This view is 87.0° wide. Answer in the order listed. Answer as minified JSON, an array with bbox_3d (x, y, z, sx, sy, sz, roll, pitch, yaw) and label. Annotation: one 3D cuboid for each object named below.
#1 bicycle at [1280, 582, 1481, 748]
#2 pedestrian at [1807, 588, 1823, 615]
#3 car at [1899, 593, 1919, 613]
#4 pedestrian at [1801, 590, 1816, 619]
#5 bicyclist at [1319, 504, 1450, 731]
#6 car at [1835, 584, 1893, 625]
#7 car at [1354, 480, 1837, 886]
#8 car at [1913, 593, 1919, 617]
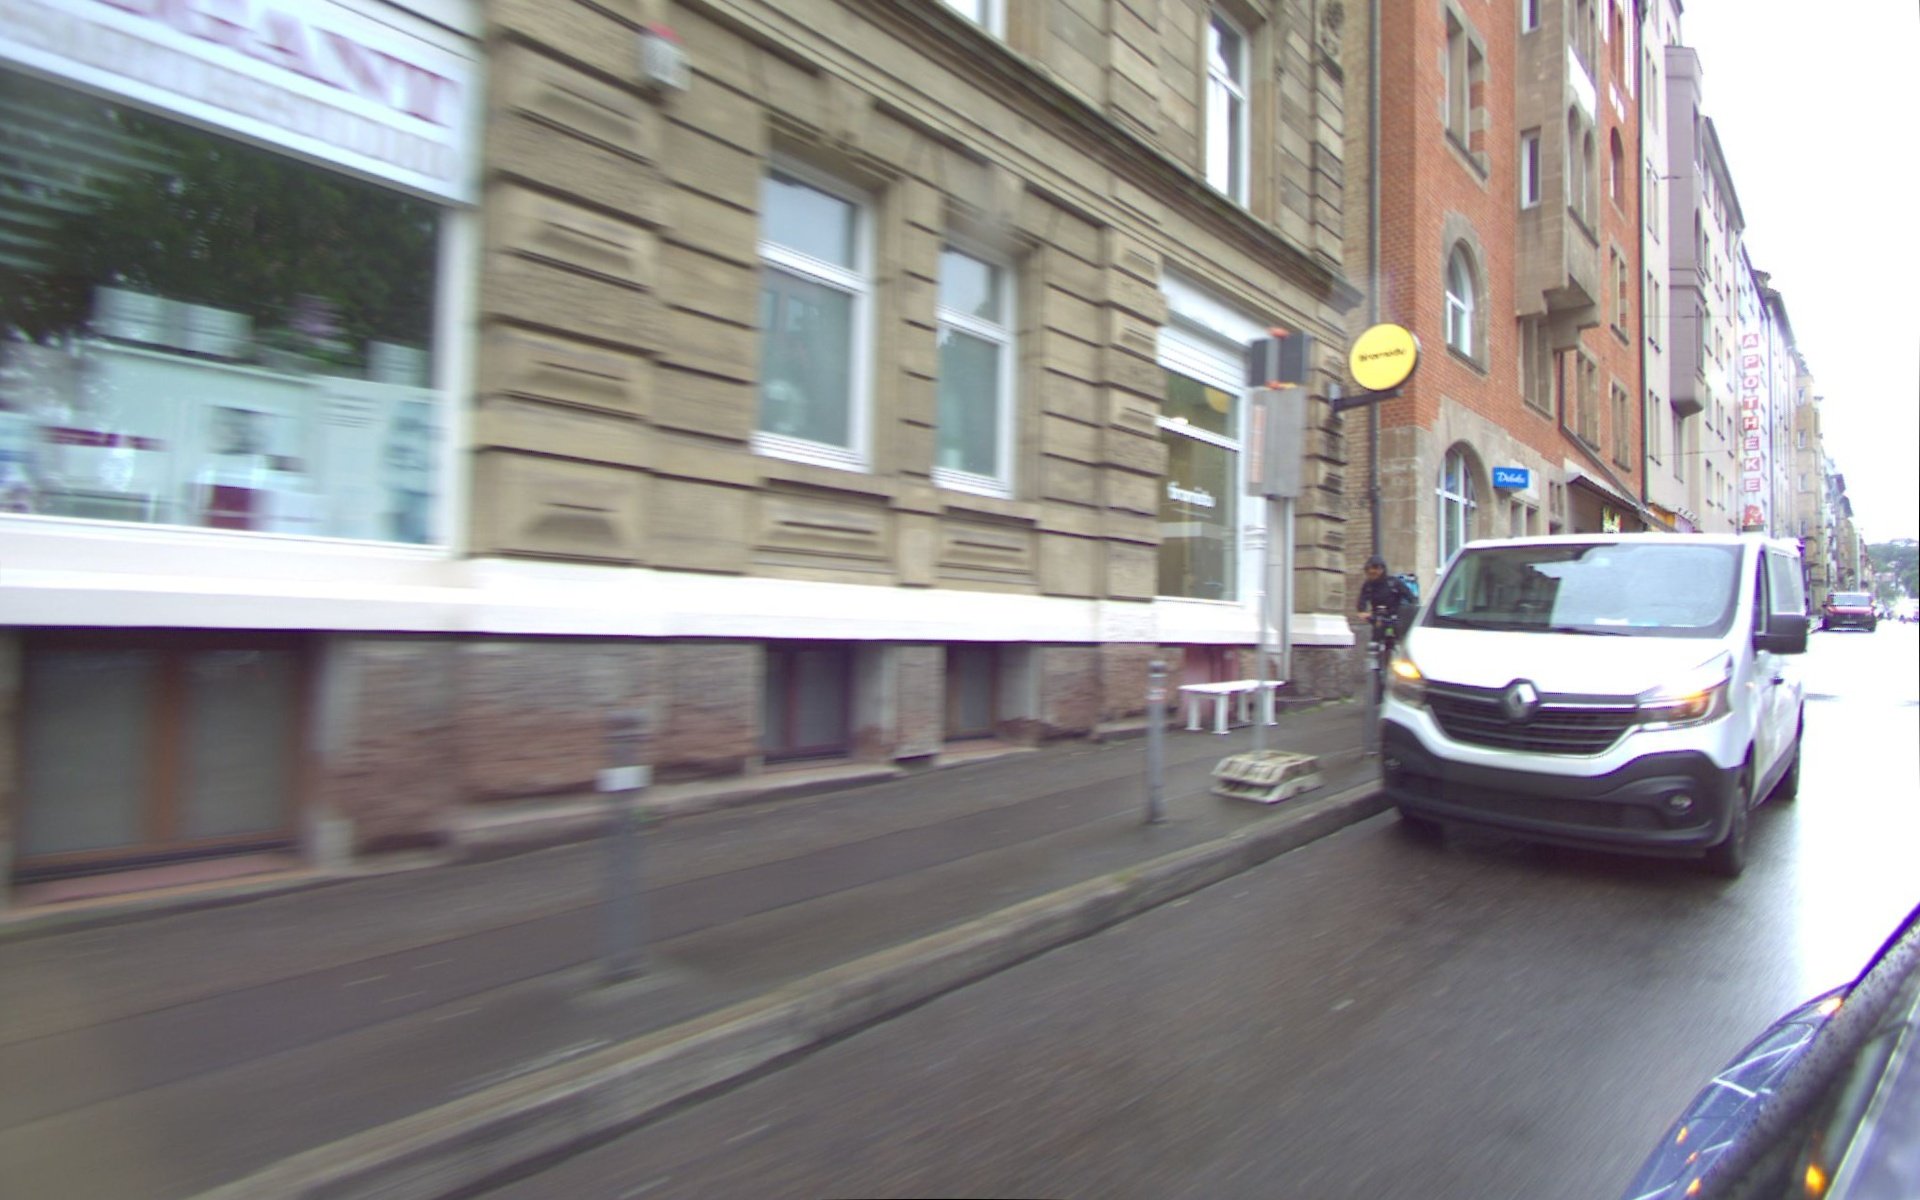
[{"bbox_3d":[4.646,0.605,11.002,0.934,1.574,3.085,-1,0,44],"label":"bicycle"},{"bbox_3d":[56.370,0.089,66.730,0.672,1.813,0.695,1,1,33],"label":"pedestrian"},{"bbox_3d":[70.307,0.205,74.320,1.878,1.465,3.939,0,0,42],"label":"car"},{"bbox_3d":[53.618,0.252,63.948,0.675,1.813,0.692,1,1,44],"label":"pedestrian"},{"bbox_3d":[4.632,0.171,11.019,0.919,2.291,1.267,0,0,45],"label":"bicyclist"},{"bbox_3d":[43.130,0.177,48.344,1.876,1.872,3.943,0,0,40],"label":"car"},{"bbox_3d":[5.099,0.377,7.567,1.821,1.929,5.895,-1,-1,44],"label":"car"},{"bbox_3d":[62.823,0.298,65.239,1.878,1.465,3.939,0,0,42],"label":"car"}]
